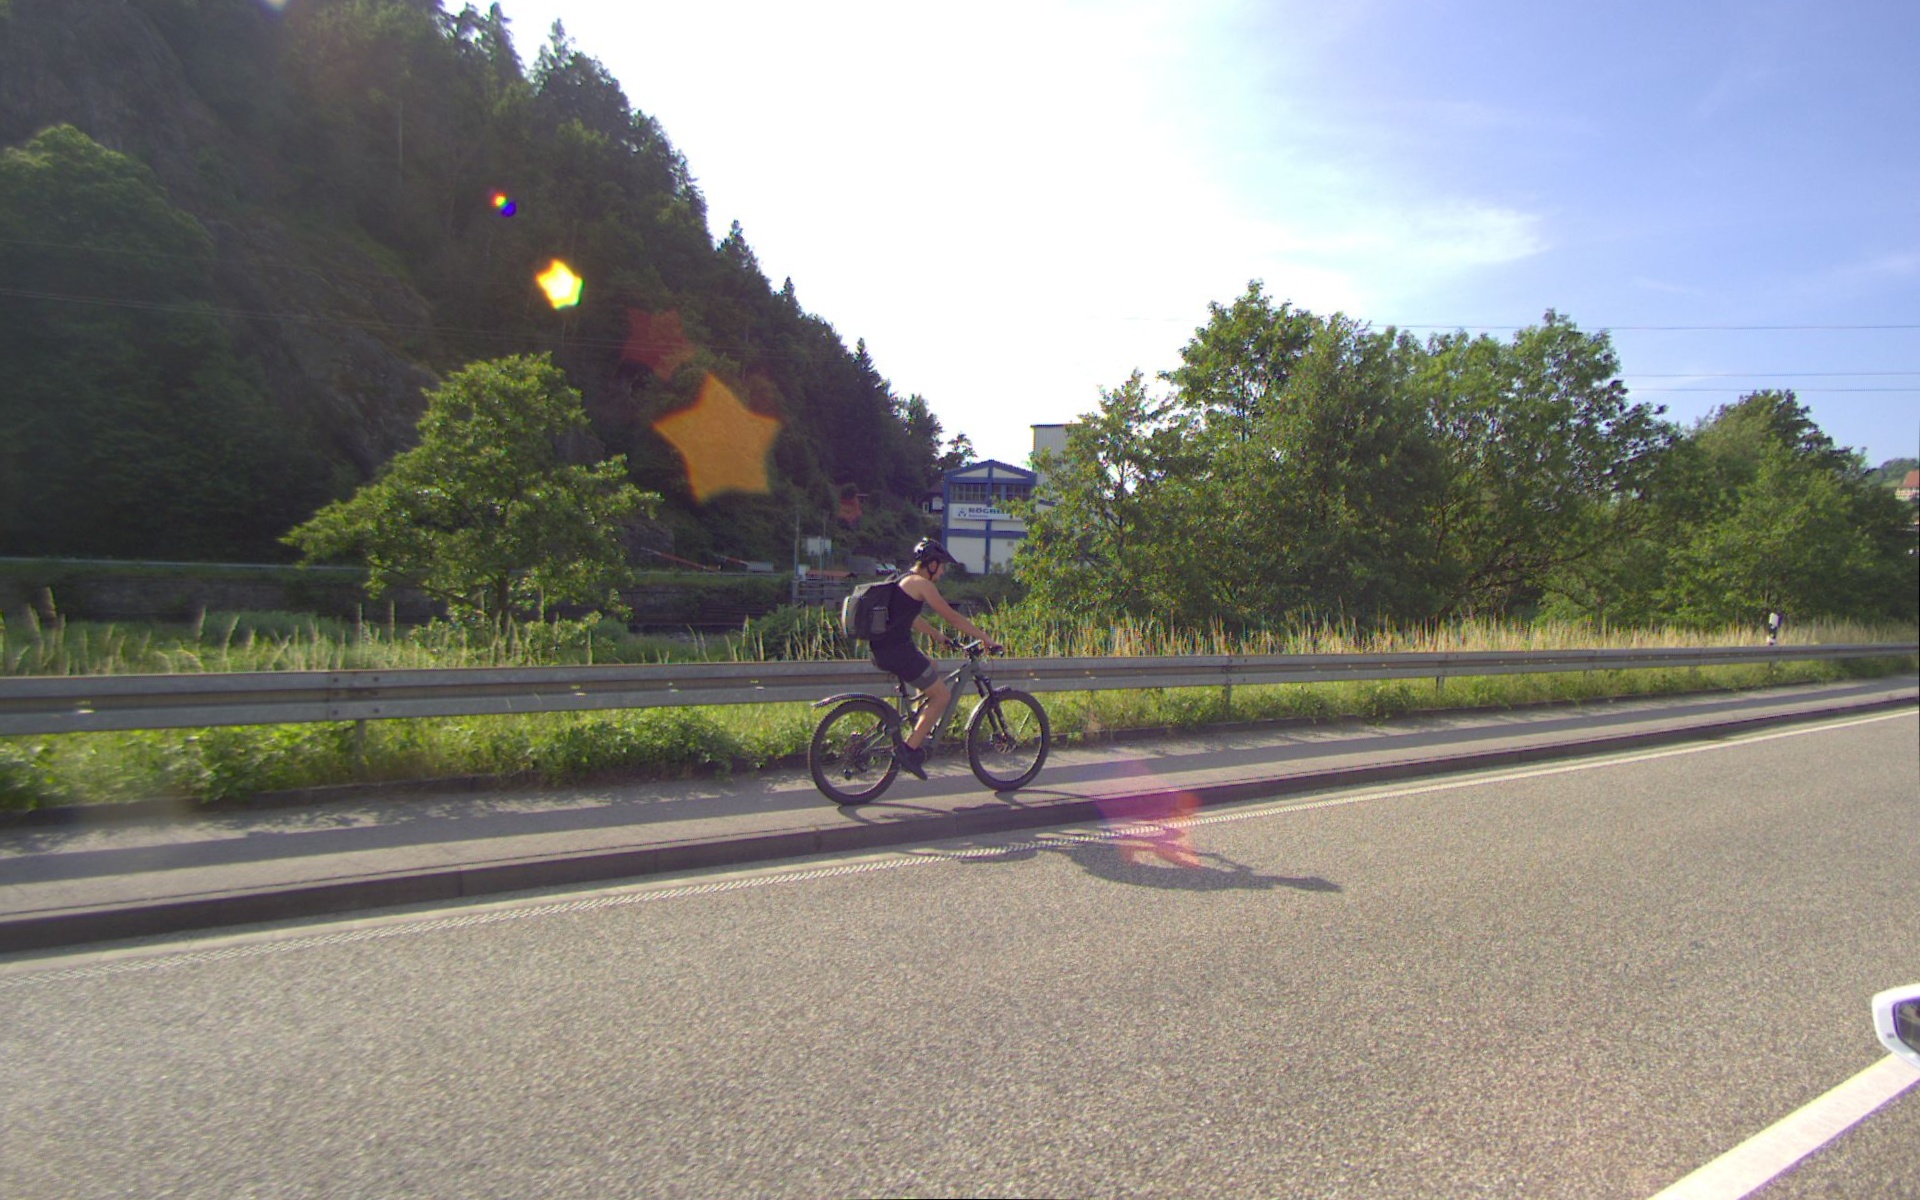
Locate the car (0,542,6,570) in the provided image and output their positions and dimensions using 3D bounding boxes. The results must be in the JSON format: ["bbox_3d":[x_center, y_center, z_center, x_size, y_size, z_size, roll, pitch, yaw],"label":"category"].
[{"bbox_3d":[-59.691,-2.686,59.701,3.950,1.688,1.862,2,4,-28],"label":"car"}]

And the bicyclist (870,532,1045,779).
[{"bbox_3d":[-0.023,0.359,7.051,1.023,1.608,0.555,0,5,-29],"label":"bicyclist"}]

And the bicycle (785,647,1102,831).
[{"bbox_3d":[-0.078,0.909,7.076,2.202,1.060,0.554,0,5,-30],"label":"bicycle"}]
